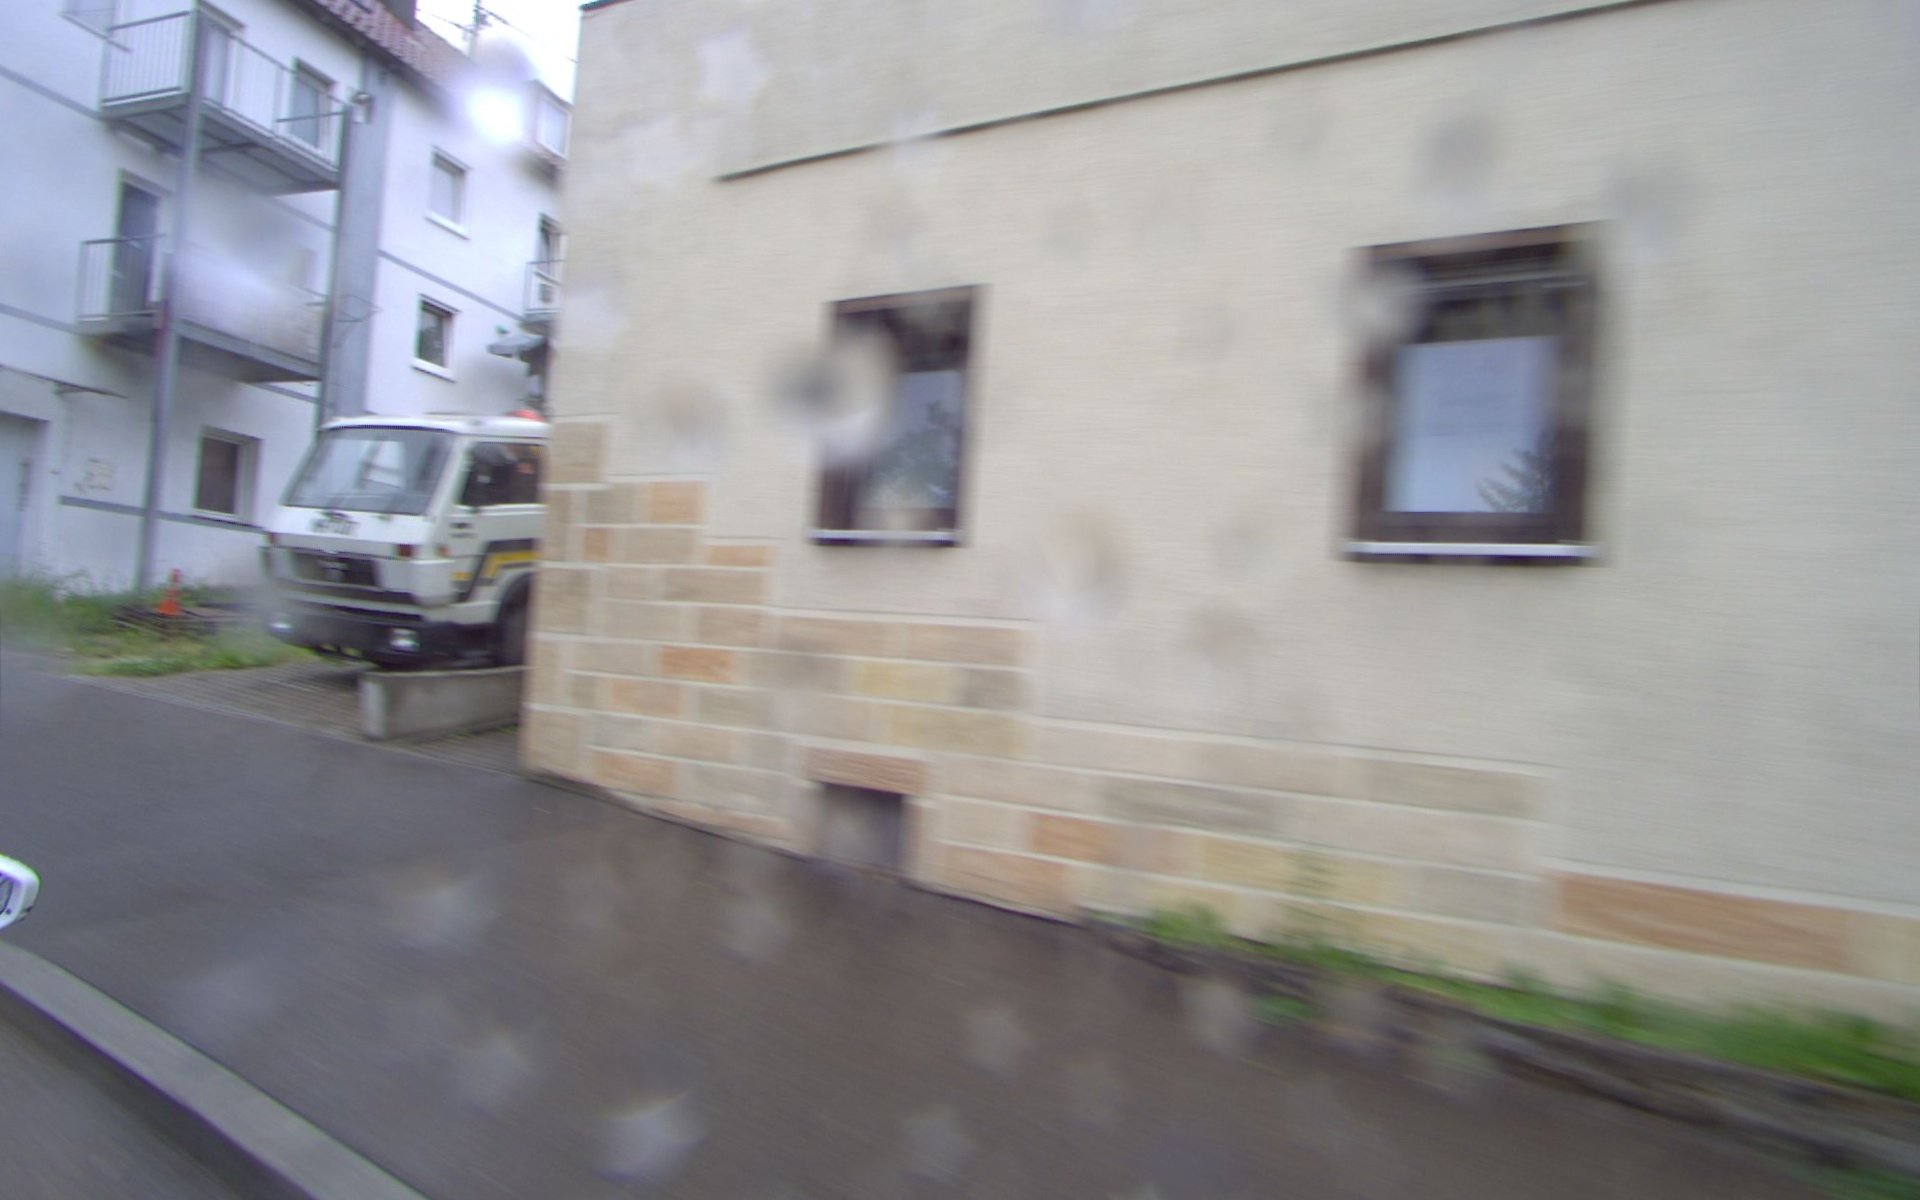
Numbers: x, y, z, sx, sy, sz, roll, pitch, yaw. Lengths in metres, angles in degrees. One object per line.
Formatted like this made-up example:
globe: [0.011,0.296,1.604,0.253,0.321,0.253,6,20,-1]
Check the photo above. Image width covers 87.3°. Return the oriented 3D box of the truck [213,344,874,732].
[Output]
truck: [-3.622,-0.558,10.874,2.101,2.740,6.965,8,4,23]
